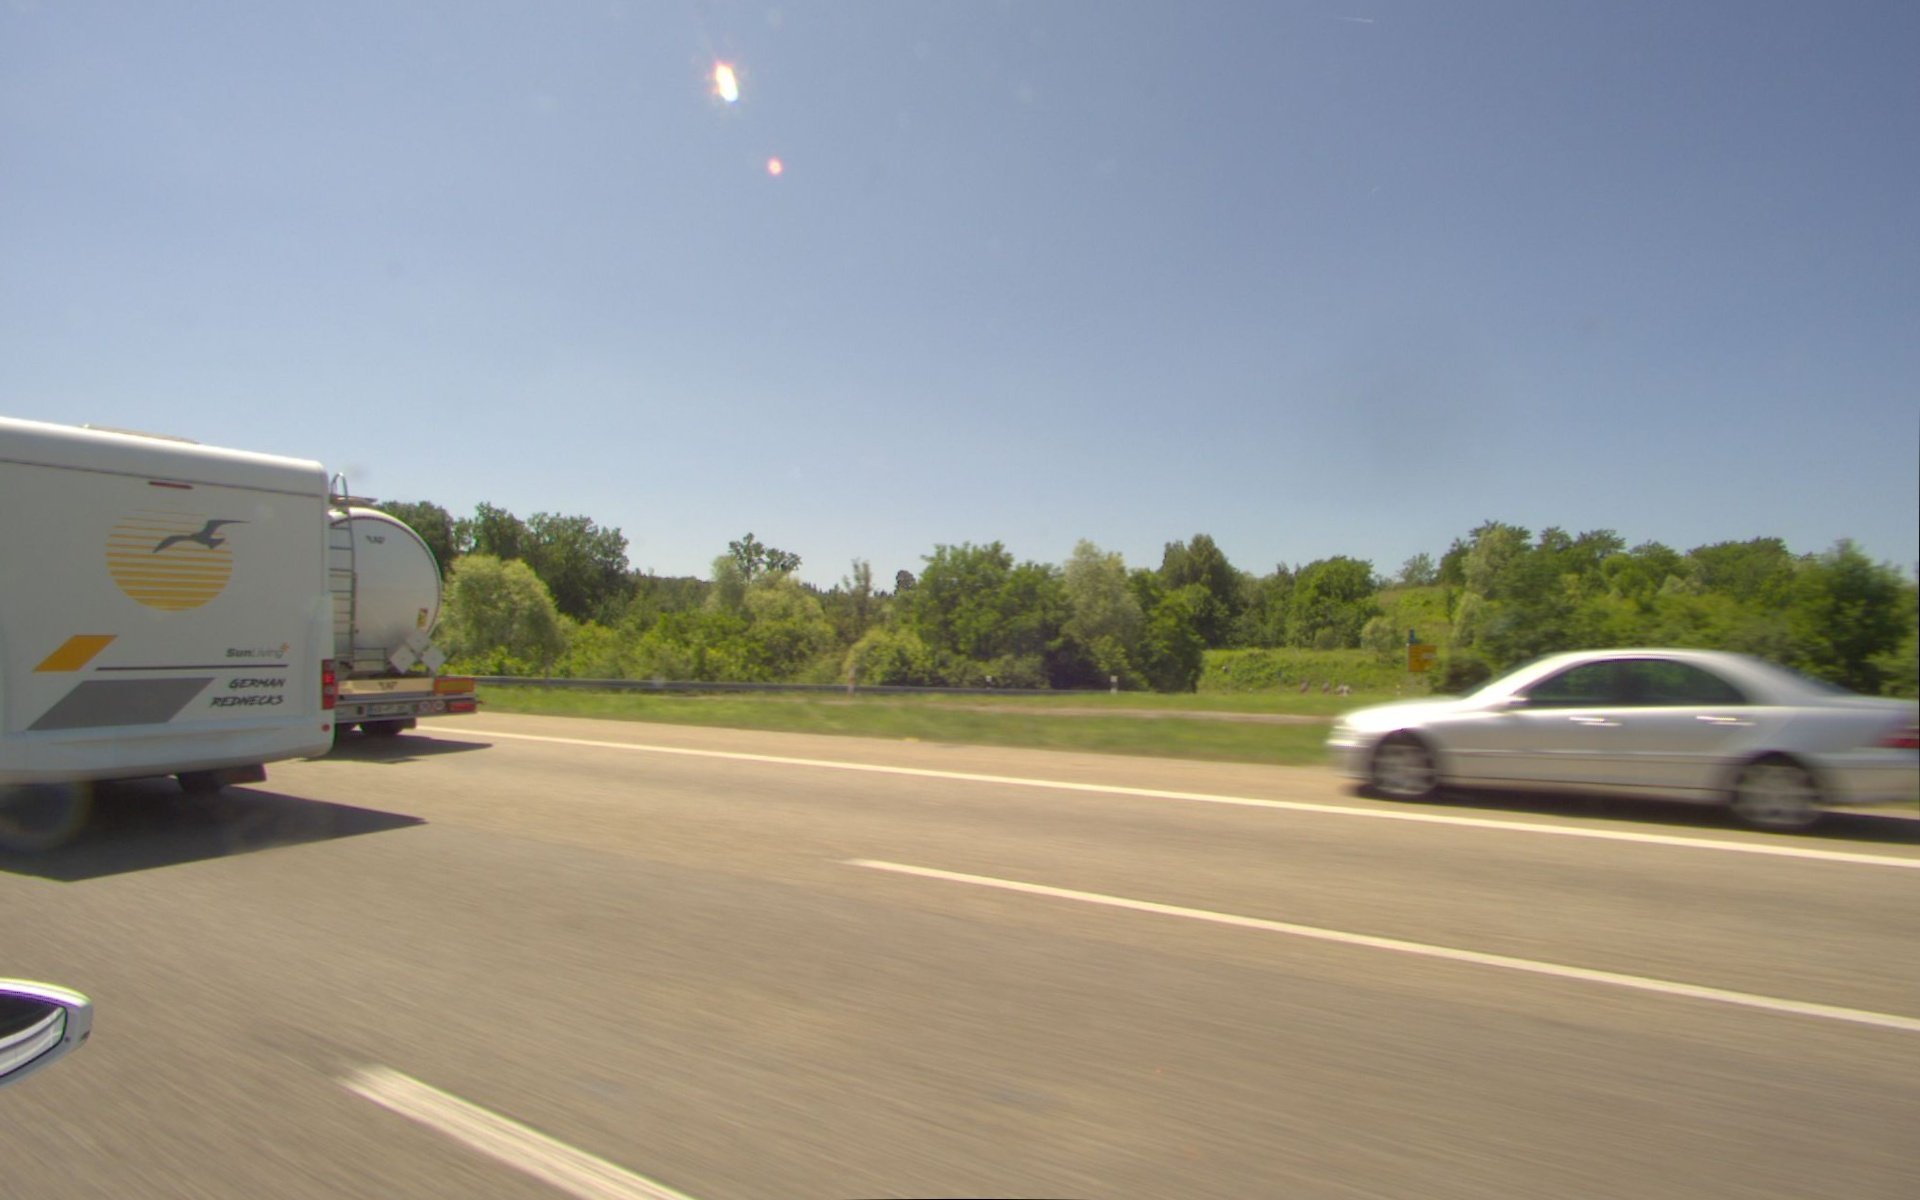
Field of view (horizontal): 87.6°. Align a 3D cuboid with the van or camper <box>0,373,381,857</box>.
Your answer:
[{"bbox_3d":[-8.605,0.187,9.284,7.079,3.117,2.599,-1,-2,32],"label":"van or camper"}]

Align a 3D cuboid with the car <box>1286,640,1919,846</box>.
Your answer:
[{"bbox_3d":[5.541,1.115,9.026,4.700,1.458,1.712,-1,-3,33],"label":"car"}]

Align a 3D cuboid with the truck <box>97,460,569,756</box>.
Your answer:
[{"bbox_3d":[-10.125,0.044,15.780,8.401,3.622,2.923,2,0,32],"label":"truck"}]
